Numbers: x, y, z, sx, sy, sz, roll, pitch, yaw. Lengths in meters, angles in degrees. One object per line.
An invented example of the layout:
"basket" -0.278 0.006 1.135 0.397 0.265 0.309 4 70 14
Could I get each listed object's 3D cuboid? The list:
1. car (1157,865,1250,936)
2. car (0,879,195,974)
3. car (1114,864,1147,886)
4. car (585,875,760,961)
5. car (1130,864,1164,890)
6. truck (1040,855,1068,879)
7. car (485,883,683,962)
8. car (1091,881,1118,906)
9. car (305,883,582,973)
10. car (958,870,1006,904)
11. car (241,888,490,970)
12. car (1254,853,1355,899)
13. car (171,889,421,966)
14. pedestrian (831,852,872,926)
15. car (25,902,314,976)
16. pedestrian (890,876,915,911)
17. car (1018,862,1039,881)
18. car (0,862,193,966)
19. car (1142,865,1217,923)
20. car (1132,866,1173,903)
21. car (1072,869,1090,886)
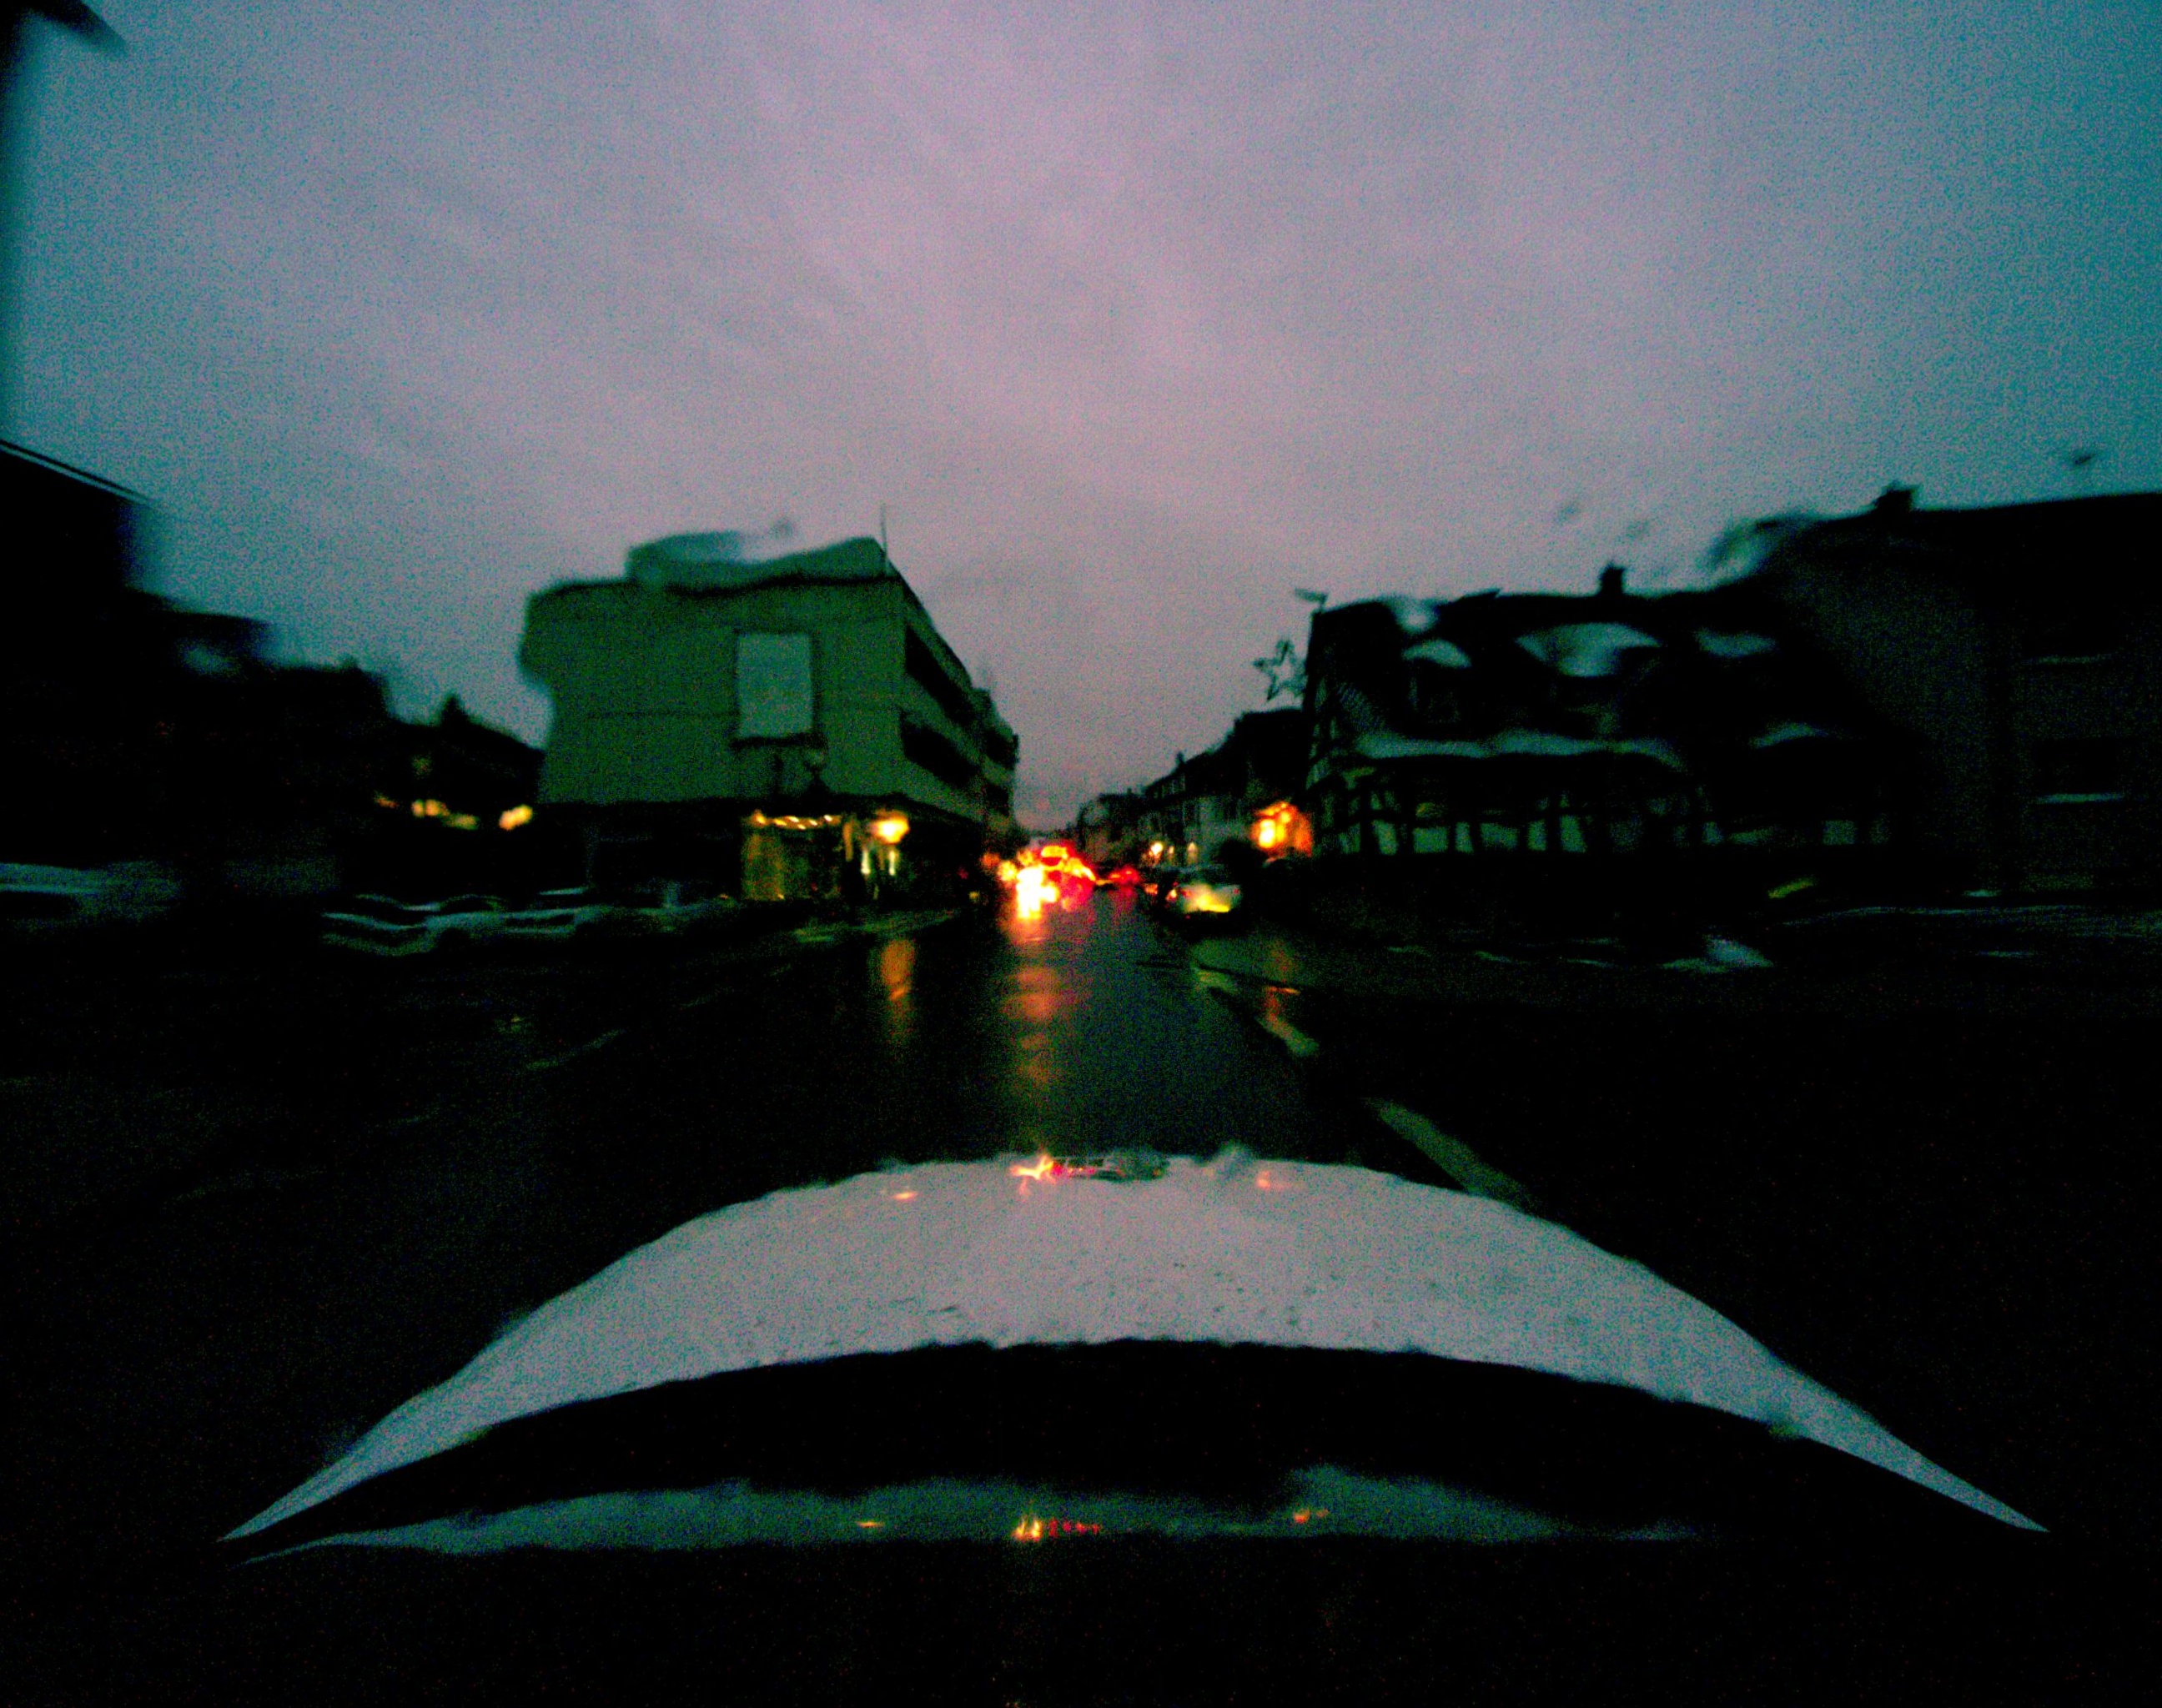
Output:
"car" 2.886 1.054 19.886 1.725 1.459 4.002 -4 -1 2
"car" -25.103 1.727 19.594 1.691 1.964 5.167 -2 1 3
"car" 3.636 1.552 60.855 1.878 1.547 4.665 -2 -1 -4
"car" -9.168 1.360 18.751 1.758 1.500 4.448 -2 1 -1
"car" 4.133 1.412 51.693 1.788 1.460 4.531 -3 -1 1
"truck" -3.734 1.814 110.870 3.014 3.129 7.976 0 -1 -8
"car" -11.598 1.536 19.428 1.690 1.400 4.455 -2 1 4
"car" 1.422 2.418 50.174 1.632 1.481 3.379 0 -1 1
"car" -14.392 1.580 18.904 2.092 1.500 5.052 -2 1 5
"car" -4.653 1.515 38.682 1.608 1.533 3.930 0 -1 3
"car" -16.972 1.696 19.682 1.688 1.464 4.460 -2 1 7
"car" 8.359 0.831 30.685 3.279 1.441 1.686 -5 -2 0
"car" -19.751 1.776 20.826 1.688 1.464 4.460 -2 1 7
"pedestrian" -6.264 0.931 22.279 0.975 1.938 1.196 -1 -1 -14
"car" -21.970 1.998 19.967 1.687 1.235 4.462 -2 1 9
"pedestrian" -6.820 1.483 31.117 0.753 1.310 0.828 0 -1 0
"car" -4.795 1.597 74.204 1.792 1.642 3.804 0 -1 -6
"car" -27.632 1.551 21.812 1.690 2.492 5.169 -2 1 4
"car" 2.923 1.174 25.058 1.758 1.526 4.389 -4 -1 0
"car" 3.090 1.289 35.590 1.619 1.441 3.803 -4 -1 4
"car" 0.005 2.184 75.721 1.633 1.481 3.270 0 -1 -1
